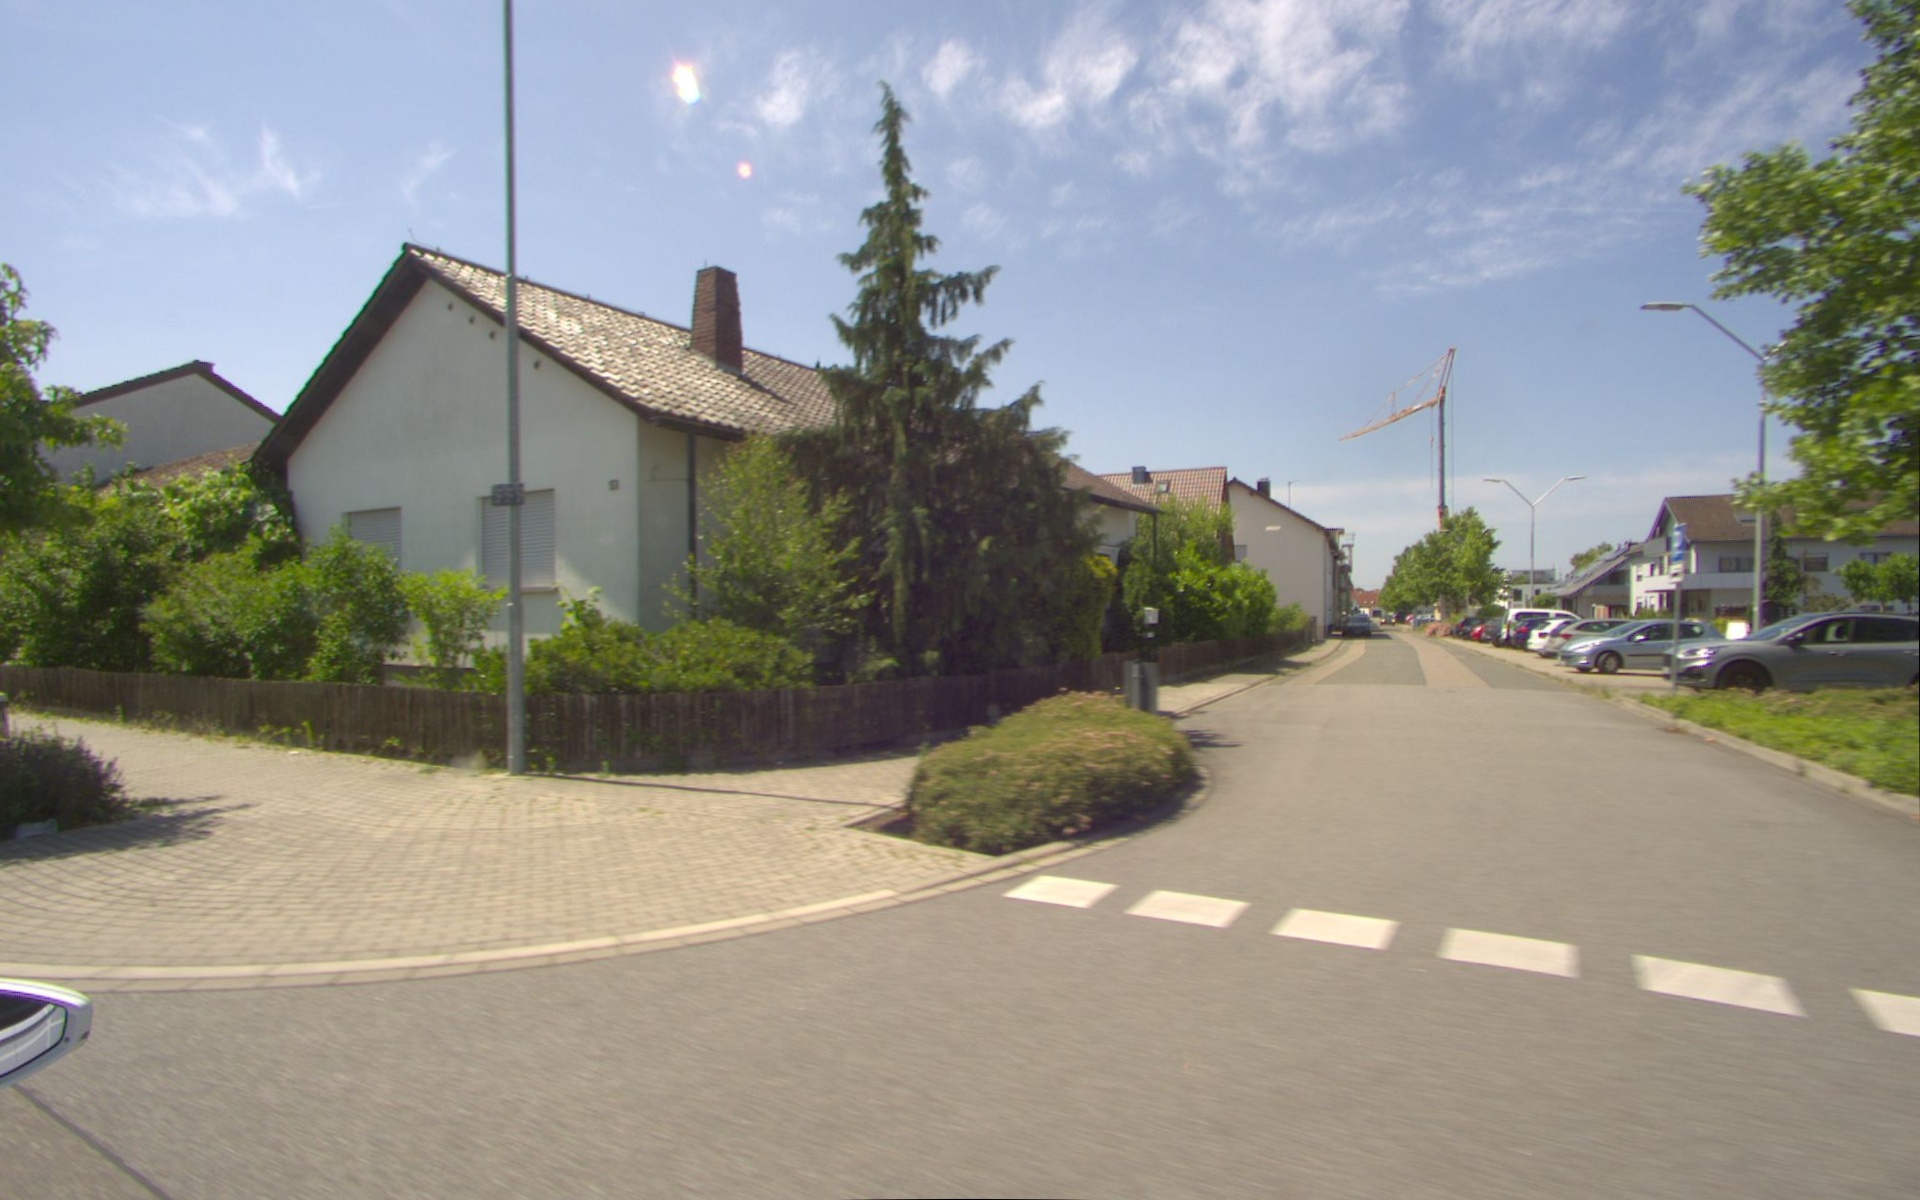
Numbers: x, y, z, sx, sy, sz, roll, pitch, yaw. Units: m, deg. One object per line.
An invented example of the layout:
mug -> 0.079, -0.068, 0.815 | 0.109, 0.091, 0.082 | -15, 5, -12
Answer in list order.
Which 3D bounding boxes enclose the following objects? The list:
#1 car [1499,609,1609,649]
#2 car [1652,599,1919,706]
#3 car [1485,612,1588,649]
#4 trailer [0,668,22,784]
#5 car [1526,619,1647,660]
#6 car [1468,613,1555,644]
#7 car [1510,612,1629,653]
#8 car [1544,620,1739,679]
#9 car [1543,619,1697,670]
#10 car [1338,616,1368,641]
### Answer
car -> 26.225, 1.278, 44.376 | 3.931, 1.718, 1.757 | 0, -2, 22
car -> 15.122, 0.895, 17.789 | 4.376, 1.764, 1.642 | -1, -1, 22
car -> 26.830, 1.386, 46.714 | 3.931, 1.658, 1.756 | 0, -1, 22
trailer -> -10.712, 1.218, 9.710 | 2.859, 1.072, 1.783 | -1, -1, 34
car -> 22.125, 1.403, 35.503 | 3.445, 1.373, 1.512 | 0, -3, 24
car -> 30.062, 1.549, 54.724 | 3.931, 1.658, 1.756 | 0, -1, 22
car -> 25.119, 1.310, 41.435 | 3.931, 1.617, 1.756 | 0, -1, 22
car -> 17.907, 1.279, 26.508 | 3.929, 1.488, 1.645 | 0, -1, 14
car -> 19.798, 1.300, 30.216 | 3.630, 1.450, 1.641 | -1, -1, 24
car -> 27.707, 2.010, 70.681 | 1.708, 1.471, 4.000 | 0, -5, 18
